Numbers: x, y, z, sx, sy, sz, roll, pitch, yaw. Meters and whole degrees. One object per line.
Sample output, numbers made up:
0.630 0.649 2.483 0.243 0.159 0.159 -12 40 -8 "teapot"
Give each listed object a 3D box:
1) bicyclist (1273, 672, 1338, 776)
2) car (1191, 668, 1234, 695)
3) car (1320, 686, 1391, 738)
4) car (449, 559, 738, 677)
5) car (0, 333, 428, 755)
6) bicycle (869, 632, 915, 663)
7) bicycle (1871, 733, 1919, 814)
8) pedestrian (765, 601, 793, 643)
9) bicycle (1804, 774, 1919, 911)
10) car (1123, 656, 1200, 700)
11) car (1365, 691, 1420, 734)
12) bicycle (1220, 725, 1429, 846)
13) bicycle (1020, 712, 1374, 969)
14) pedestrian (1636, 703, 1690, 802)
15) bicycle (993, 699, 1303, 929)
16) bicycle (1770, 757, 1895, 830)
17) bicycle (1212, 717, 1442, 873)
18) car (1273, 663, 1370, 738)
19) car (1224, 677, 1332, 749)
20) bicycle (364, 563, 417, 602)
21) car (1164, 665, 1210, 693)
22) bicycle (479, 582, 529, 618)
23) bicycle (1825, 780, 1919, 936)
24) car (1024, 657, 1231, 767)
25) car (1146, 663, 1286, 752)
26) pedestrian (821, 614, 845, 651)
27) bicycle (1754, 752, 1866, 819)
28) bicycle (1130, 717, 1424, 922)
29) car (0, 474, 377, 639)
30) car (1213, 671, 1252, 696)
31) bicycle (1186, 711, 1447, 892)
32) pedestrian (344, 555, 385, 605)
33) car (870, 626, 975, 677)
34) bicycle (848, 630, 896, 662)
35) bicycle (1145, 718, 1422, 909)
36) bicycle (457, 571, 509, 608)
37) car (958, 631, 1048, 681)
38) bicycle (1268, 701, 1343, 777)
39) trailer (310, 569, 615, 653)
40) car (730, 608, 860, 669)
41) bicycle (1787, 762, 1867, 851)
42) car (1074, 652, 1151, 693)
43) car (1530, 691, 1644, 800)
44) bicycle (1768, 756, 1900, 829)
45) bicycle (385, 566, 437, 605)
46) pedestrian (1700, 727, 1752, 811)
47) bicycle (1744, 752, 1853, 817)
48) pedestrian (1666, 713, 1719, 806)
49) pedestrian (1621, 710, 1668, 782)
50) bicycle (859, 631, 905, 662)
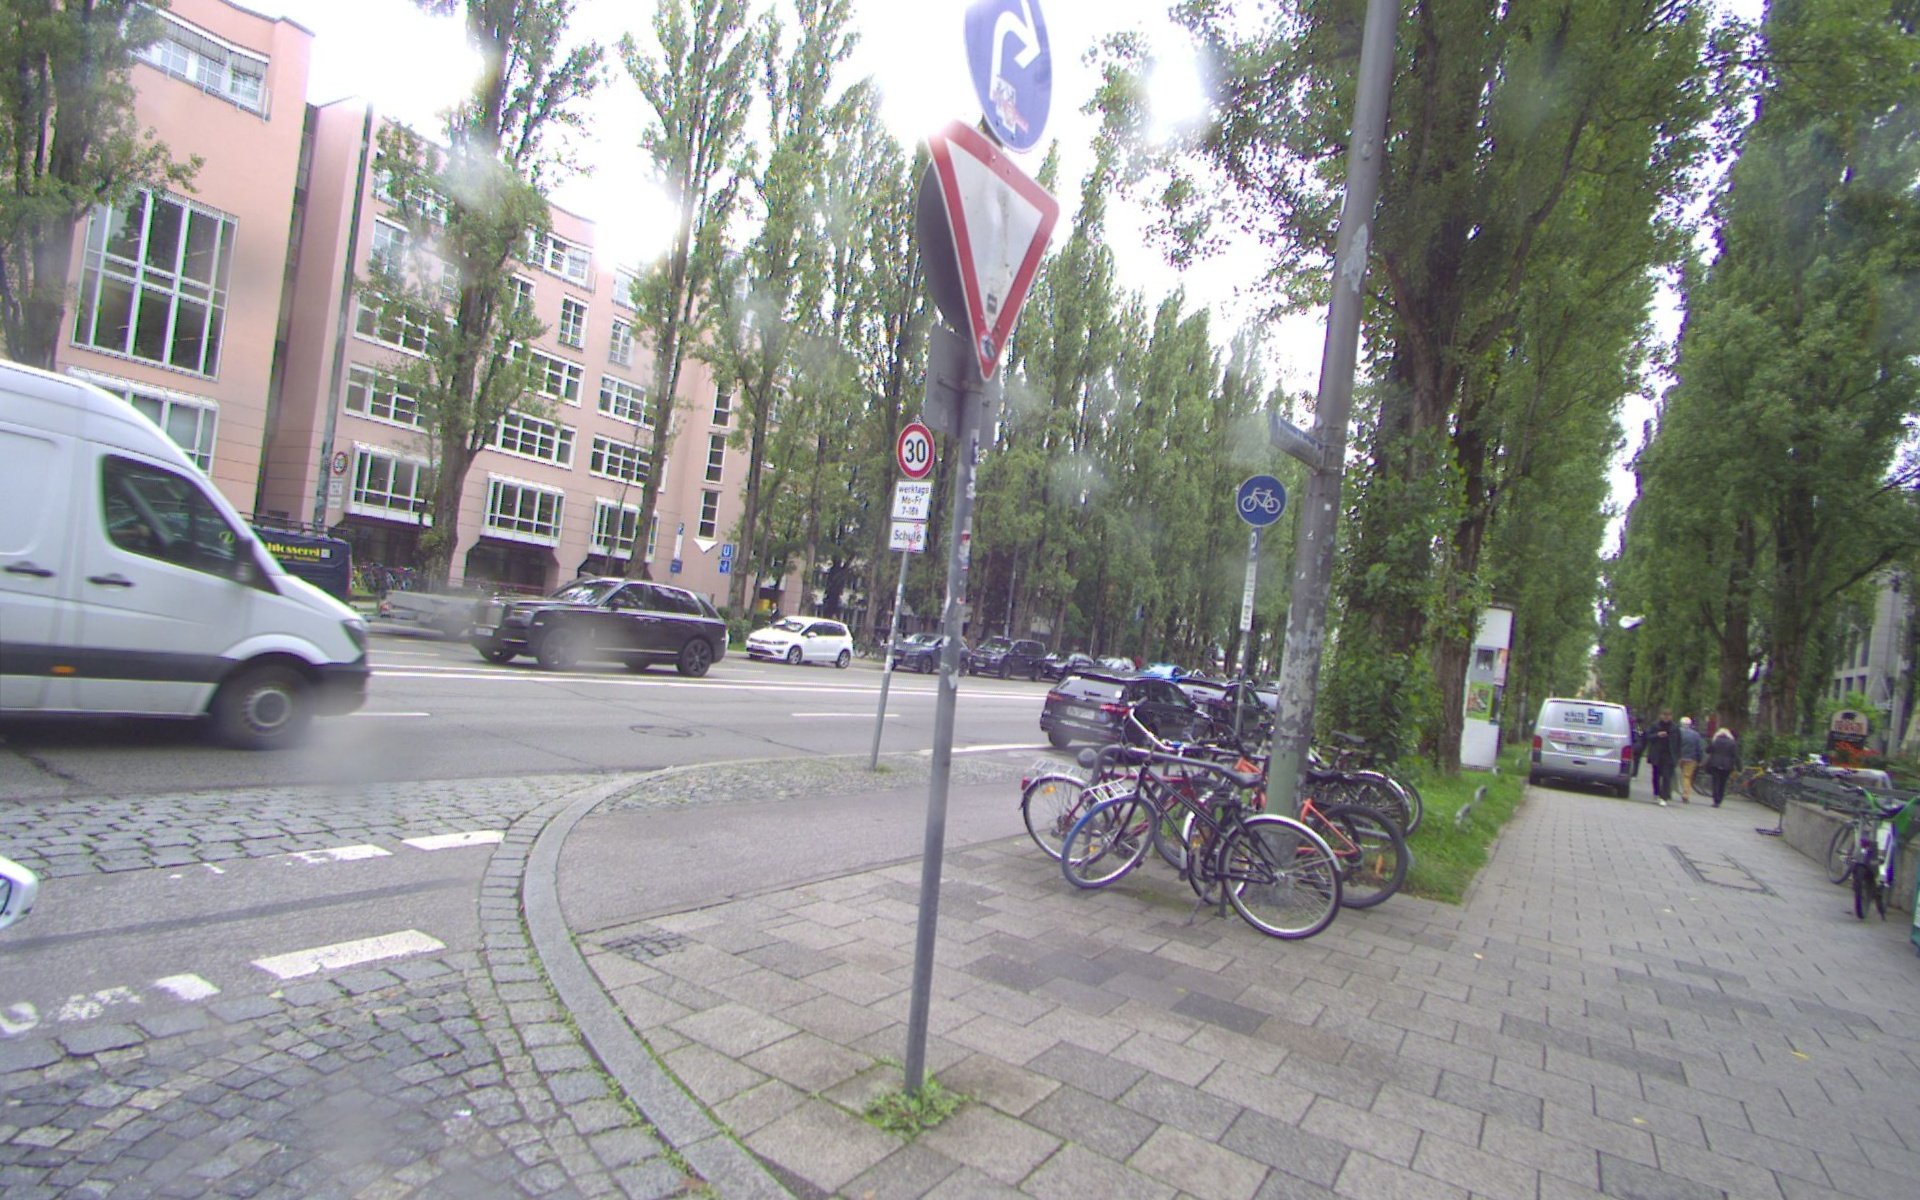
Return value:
5.883 2.096 17.116 0.712 1.638 0.755 7 -1 33 "bicyclist"
18.078 5.877 72.000 1.738 1.597 3.967 7 -2 31 "car"
14.709 4.143 37.308 1.719 1.544 3.947 8 -1 30 "car"
-6.888 0.440 19.579 1.967 1.768 5.057 4 -3 31 "car"
-7.162 -0.488 6.646 2.012 2.683 6.032 9 0 31 "car"
-3.078 2.160 45.569 1.956 1.138 0.675 7 -1 33 "bicycle"
15.228 2.768 16.065 0.578 1.173 1.866 7 -2 32 "bicycle"
-8.050 0.976 44.674 0.697 1.734 0.730 7 -1 33 "pedestrian"
9.986 2.605 10.961 0.577 1.173 1.870 7 -2 23 "bicycle"
9.115 3.530 45.172 1.841 1.597 4.416 5 -3 32 "car"
19.745 5.118 45.839 1.719 1.609 3.947 8 -1 30 "car"
3.543 1.776 9.875 1.806 0.827 0.470 6 -2 37 "bicycle"
1.345 1.318 5.851 1.843 1.063 0.475 6 -1 26 "bicycle"
14.142 3.057 20.262 0.689 1.862 0.705 7 0 34 "pedestrian"
1.188 1.324 6.601 1.846 1.063 0.475 7 0 33 "bicycle"
18.546 4.093 21.440 1.839 1.173 0.586 7 -1 34 "bicycle"
3.313 1.724 9.181 1.806 1.050 0.512 6 -1 37 "bicycle"
11.732 3.231 32.392 1.884 1.946 5.035 8 -1 30 "car"
8.718 3.064 27.356 1.719 1.544 4.229 8 -1 31 "car"
-19.847 -0.615 35.058 1.956 1.138 0.675 7 -1 33 "bicycle"
15.162 5.263 67.064 1.738 1.598 3.965 7 -1 31 "car"
-17.525 -0.013 38.648 1.956 1.138 0.675 7 -1 33 "bicycle"
8.519 2.331 9.344 0.580 1.173 1.860 7 -2 43 "bicycle"
3.097 1.994 17.811 1.728 1.444 4.438 8 -1 35 "car"
5.739 2.377 22.215 1.720 1.544 3.902 8 -1 33 "car"
-6.371 1.610 50.456 0.697 1.734 0.730 7 -1 33 "pedestrian"
19.860 4.322 23.554 1.839 1.174 0.586 7 0 34 "bicycle"
2.213 1.487 7.161 1.846 1.063 0.475 5 -2 33 "bicycle"
-14.265 -0.676 18.671 1.990 2.222 5.489 7 -2 32 "car"
20.827 6.396 76.847 1.738 1.598 3.965 7 -1 31 "car"
2.953 1.623 8.436 1.899 1.118 0.512 6 -1 31 "bicycle"
-18.336 -0.615 30.979 0.697 1.385 0.730 7 -1 33 "pedestrian"
-1.427 2.075 40.157 1.967 1.560 4.318 7 -2 32 "car"
-3.870 2.008 44.059 1.956 1.138 0.675 7 -1 33 "bicycle"
2.409 1.548 7.613 1.846 1.063 0.475 5 -2 33 "bicycle"
-17.952 -0.414 37.861 2.072 1.138 0.675 7 -1 33 "bicycle"
2.035 2.589 46.026 1.967 1.818 4.755 7 -2 31 "car"
5.950 2.385 17.247 0.708 1.160 1.898 3 -5 33 "bicycle"
-11.410 0.333 23.645 2.365 1.213 6.029 7 -2 32 "trailer"
-5.408 1.327 33.485 1.965 1.560 4.323 7 -2 27 "car"
13.994 3.297 16.279 0.578 1.173 1.981 7 -2 32 "bicycle"
7.533 3.564 49.247 1.967 1.661 4.544 6 -2 32 "car"
14.176 3.225 22.758 1.785 1.917 5.195 7 -2 33 "car"
19.004 4.171 21.935 1.999 1.173 0.586 7 -1 34 "bicycle"
-19.478 -0.505 35.678 1.956 1.138 0.675 7 -1 33 "bicycle"
16.155 3.547 21.228 0.687 1.625 0.831 7 -1 36 "pedestrian"
20.070 4.399 24.129 1.839 1.173 0.586 7 -1 34 "bicycle"
15.702 3.403 21.575 0.739 1.824 0.841 7 -1 36 "pedestrian"
19.622 4.173 28.814 0.905 1.888 1.011 7 -1 36 "pedestrian"
-3.492 2.085 44.940 1.956 1.138 0.675 7 -1 33 "bicycle"
